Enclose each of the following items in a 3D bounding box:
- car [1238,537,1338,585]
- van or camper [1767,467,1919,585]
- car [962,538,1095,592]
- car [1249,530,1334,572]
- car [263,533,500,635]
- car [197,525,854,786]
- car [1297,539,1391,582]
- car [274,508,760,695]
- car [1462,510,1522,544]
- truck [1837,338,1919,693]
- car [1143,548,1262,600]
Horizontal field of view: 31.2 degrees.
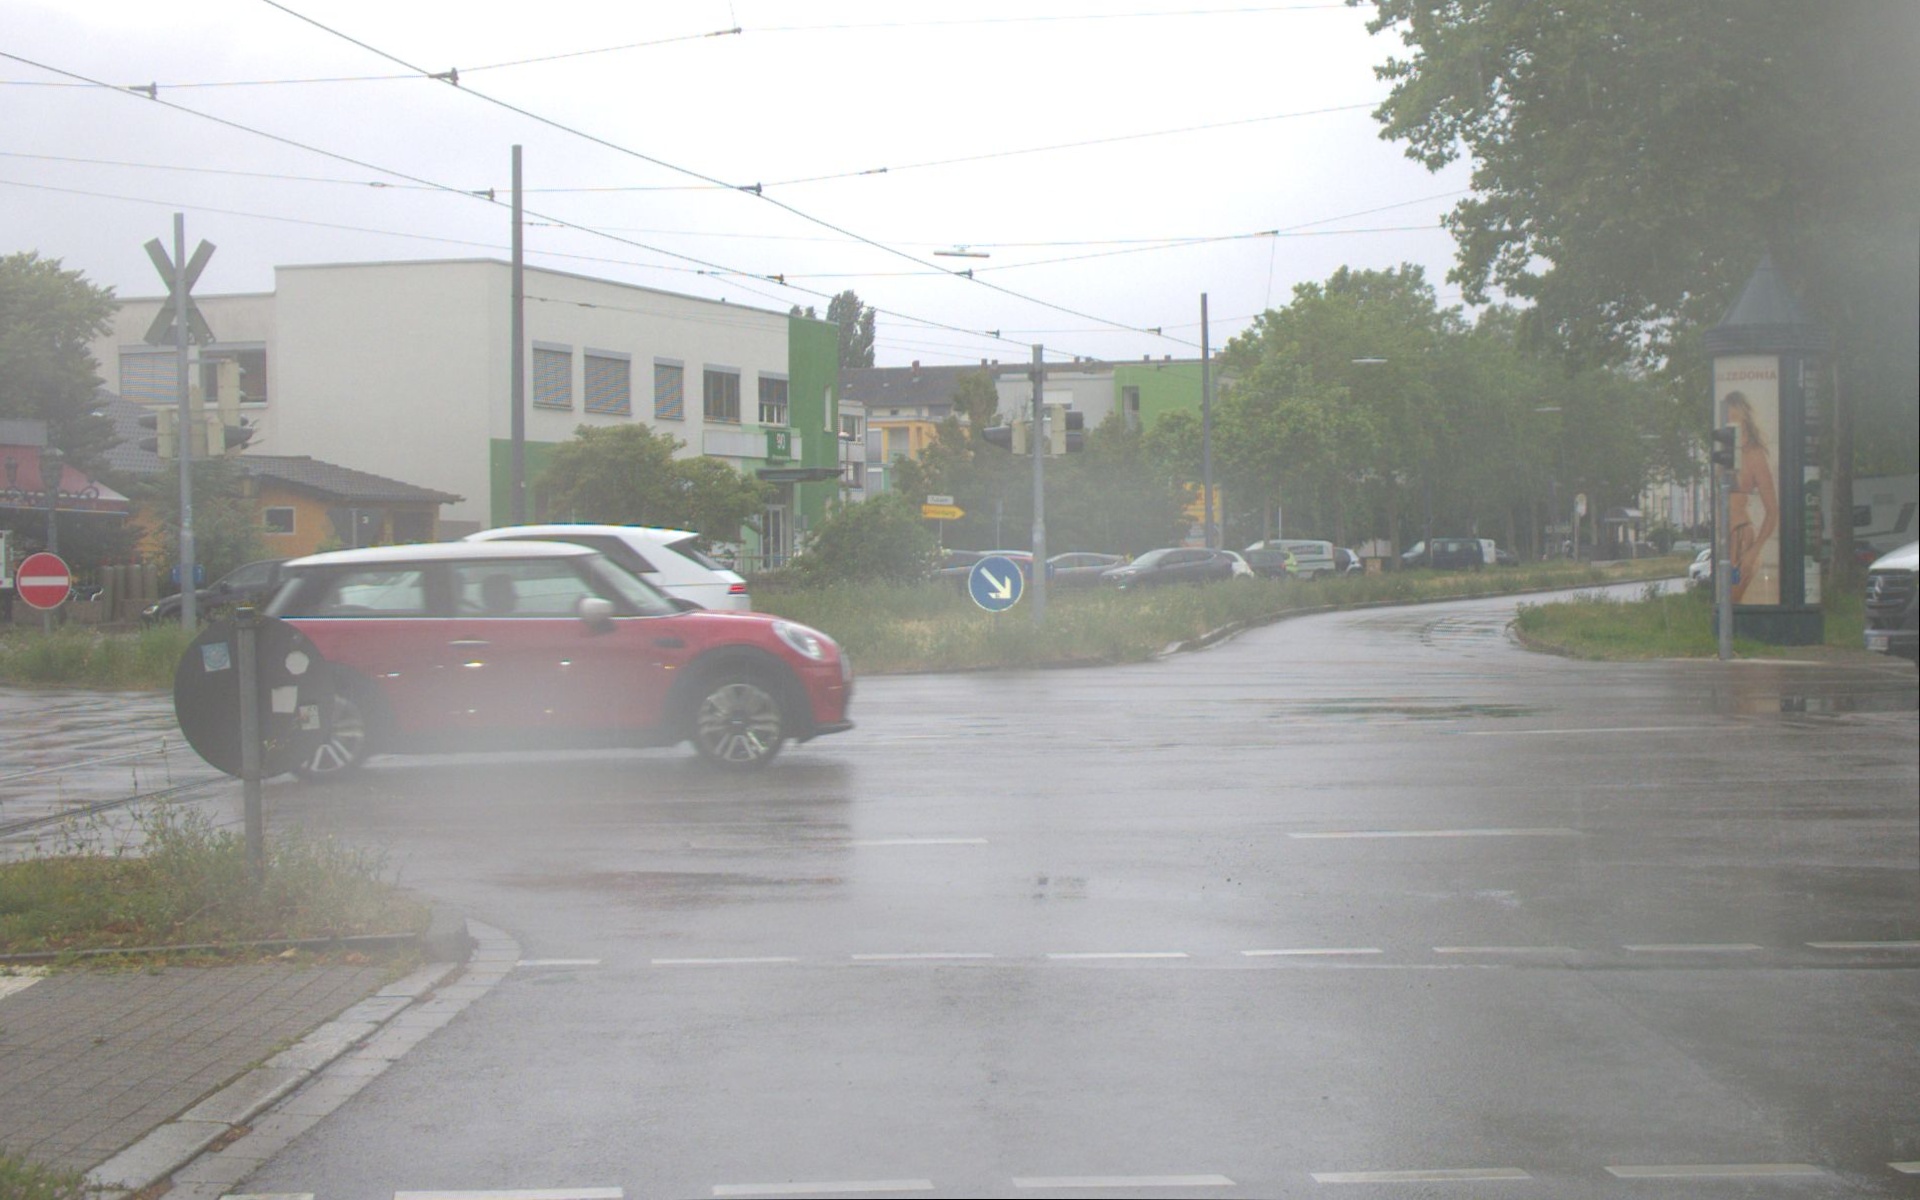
[{"bbox_3d":[13.862,-1.650,145.403,4.136,1.969,1.673,-1,1,5],"label":"car"},{"bbox_3d":[21.702,-1.728,80.596,5.225,2.688,2.241,2,2,17],"label":"van or camper"},{"bbox_3d":[2.226,-1.127,110.810,4.136,1.664,1.673,-1,1,5],"label":"car"},{"bbox_3d":[16.503,-2.443,171.299,3.989,2.007,1.833,-1,0,13],"label":"car"},{"bbox_3d":[-11.010,-0.309,65.590,4.136,1.853,1.673,-1,1,5],"label":"car"},{"bbox_3d":[-2.704,0.304,21.484,3.906,1.493,1.652,-1,2,-8],"label":"car"},{"bbox_3d":[17.270,-1.786,154.689,4.136,1.853,1.673,-1,1,5],"label":"car"},{"bbox_3d":[-4.205,-0.001,32.869,4.460,1.650,1.652,-1,1,-7],"label":"car"},{"bbox_3d":[32.981,-4.507,212.984,3.446,2.007,1.806,-1,1,15],"label":"car"},{"bbox_3d":[10.848,-0.759,30.719,5.467,3.048,1.981,-1,0,-5],"label":"truck"},{"bbox_3d":[8.984,-0.962,127.500,4.134,1.853,1.674,-1,1,-6],"label":"car"}]
